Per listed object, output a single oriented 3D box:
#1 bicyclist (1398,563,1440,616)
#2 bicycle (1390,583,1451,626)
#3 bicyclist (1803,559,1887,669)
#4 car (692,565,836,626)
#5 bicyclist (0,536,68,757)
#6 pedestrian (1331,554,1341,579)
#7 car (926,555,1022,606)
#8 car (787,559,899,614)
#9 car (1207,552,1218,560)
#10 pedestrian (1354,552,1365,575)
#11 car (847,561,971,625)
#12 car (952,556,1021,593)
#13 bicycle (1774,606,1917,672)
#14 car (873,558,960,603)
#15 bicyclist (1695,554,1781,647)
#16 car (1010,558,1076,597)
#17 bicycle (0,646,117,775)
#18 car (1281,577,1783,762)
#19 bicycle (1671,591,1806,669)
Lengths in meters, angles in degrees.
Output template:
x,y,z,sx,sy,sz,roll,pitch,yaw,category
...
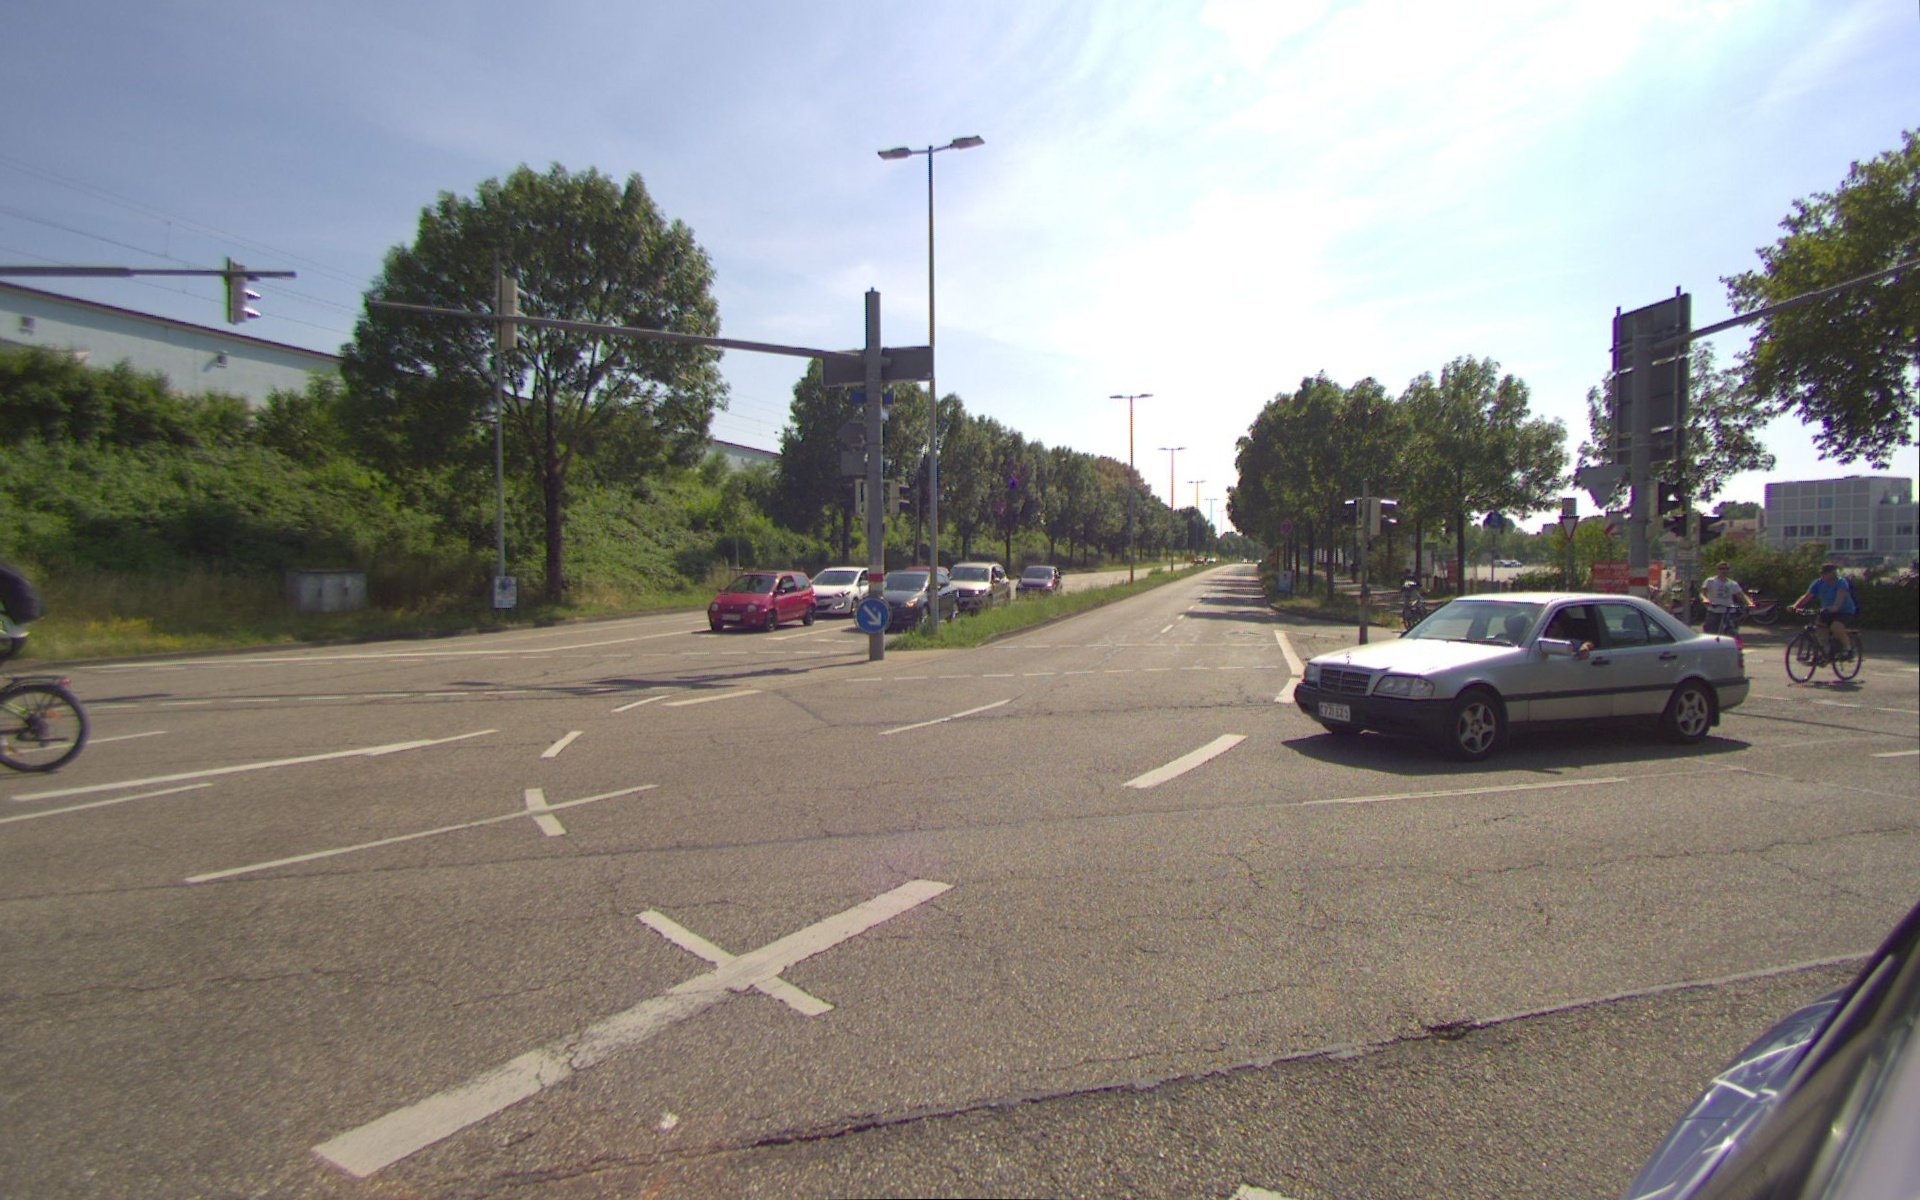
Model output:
x,y,z,sx,sy,sz,roll,pitch,yaw,category
13.091,-0.304,28.874,0.870,1.460,0.964,0,2,10,bicyclist
13.084,0.105,28.838,0.870,1.072,2.766,0,3,9,bicycle
13.182,0.193,15.084,0.890,1.585,0.549,-1,2,-19,bicyclist
-4.836,-0.133,25.581,1.696,1.410,3.971,0,1,22,car
-7.725,0.350,7.788,1.045,1.654,0.808,-1,0,-20,bicyclist
26.400,-2.332,71.036,0.622,1.730,0.764,0,2,15,pedestrian
0.515,-0.616,32.499,1.696,1.527,4.181,0,1,22,car
-3.454,-0.406,30.580,1.696,1.527,3.971,0,1,22,car
52.193,-9.104,208.929,1.973,1.771,4.250,0,2,17,car
27.198,-2.489,68.908,0.570,1.543,0.876,0,2,15,pedestrian
-1.230,-0.202,26.326,1.696,1.527,3.971,0,1,22,car
1.207,-1.078,43.867,1.696,1.527,3.971,0,1,22,car
13.220,0.563,15.102,2.252,0.845,0.549,-2,3,-19,bicycle
-1.534,-0.704,37.111,1.696,1.527,3.971,0,1,22,car
12.723,-0.012,16.587,0.761,1.453,0.918,0,3,12,bicyclist
3.538,-0.943,42.522,1.696,1.527,3.971,0,1,22,car
-7.804,0.856,7.760,1.886,0.903,0.819,-1,1,-20,bicycle
5.465,0.532,9.733,4.348,1.408,1.720,-1,2,-18,car
12.741,0.448,16.680,0.761,1.066,2.394,0,3,12,bicycle
